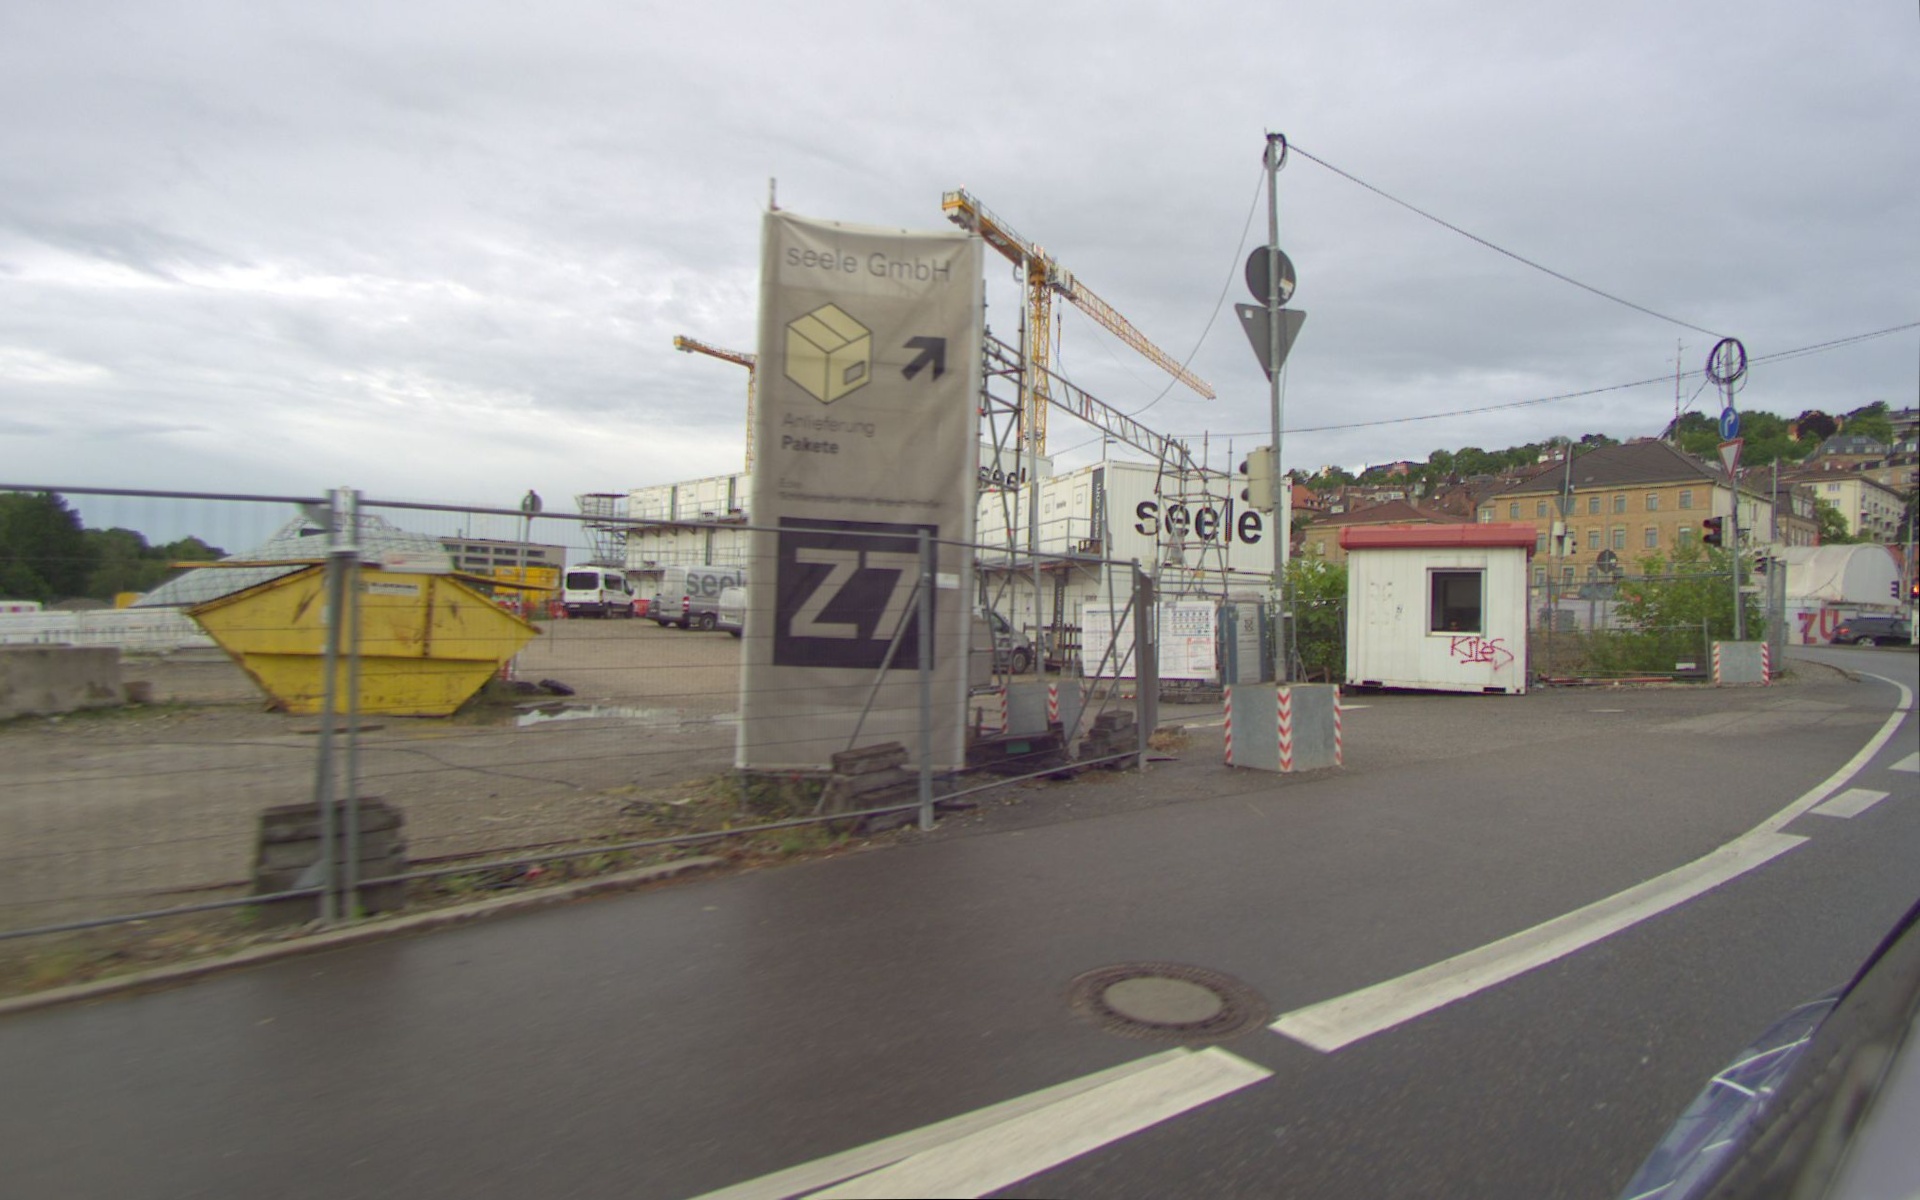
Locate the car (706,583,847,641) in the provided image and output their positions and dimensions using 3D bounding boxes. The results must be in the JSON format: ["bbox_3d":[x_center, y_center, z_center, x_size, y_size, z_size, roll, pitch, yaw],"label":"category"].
[{"bbox_3d":[-6.653,0.407,37.206,1.992,1.910,4.909,4,3,41],"label":"car"}]

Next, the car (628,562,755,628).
[{"bbox_3d":[-11.396,-0.227,43.219,1.992,2.591,4.909,4,3,41],"label":"car"}]

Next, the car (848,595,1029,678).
[{"bbox_3d":[-0.503,0.914,26.731,4.575,1.925,2.016,1,1,-43],"label":"car"}]

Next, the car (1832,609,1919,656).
[{"bbox_3d":[36.768,1.282,39.476,4.098,1.638,1.859,3,2,43],"label":"car"}]

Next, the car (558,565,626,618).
[{"bbox_3d":[-18.057,-0.455,49.825,2.107,2.412,4.409,1,1,-6],"label":"car"}]
